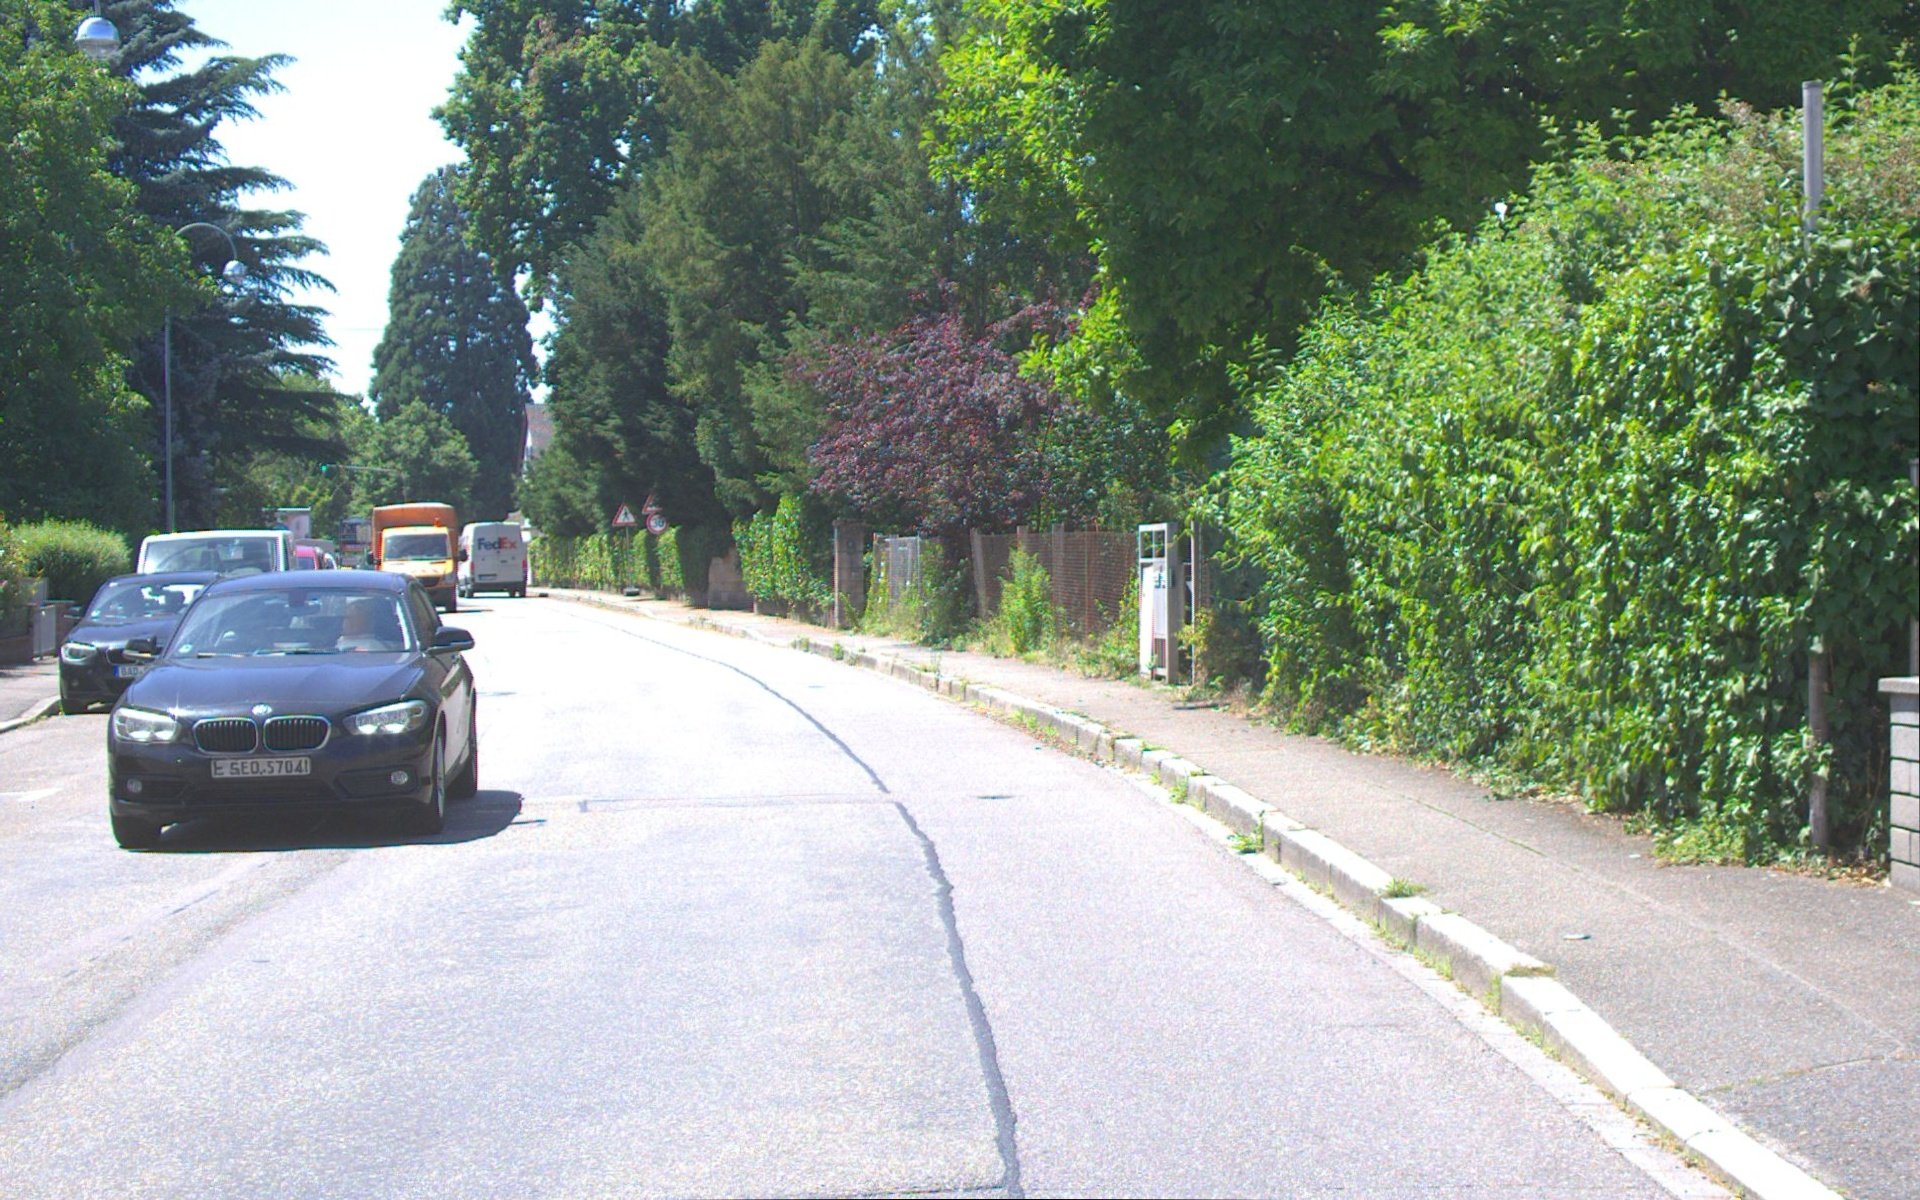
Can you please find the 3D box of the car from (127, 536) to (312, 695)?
[{"bbox_3d":[-9.405,0.184,43.995,1.886,1.875,4.981,-1,0,-8],"label":"car"}]

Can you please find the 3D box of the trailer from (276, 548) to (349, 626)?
[{"bbox_3d":[-18.098,-0.374,95.988,1.847,2.033,4.164,-3,1,-12],"label":"trailer"}]

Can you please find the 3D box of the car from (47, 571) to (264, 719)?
[{"bbox_3d":[-8.461,0.430,36.454,1.698,1.379,4.236,-3,1,-6],"label":"car"}]

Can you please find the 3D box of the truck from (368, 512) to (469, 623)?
[{"bbox_3d":[-14.521,-0.866,91.982,2.372,2.820,5.660,-2,1,-11],"label":"truck"}]

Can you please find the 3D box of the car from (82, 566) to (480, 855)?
[{"bbox_3d":[-3.732,0.554,19.506,1.731,1.412,4.001,-2,0,-5],"label":"car"}]

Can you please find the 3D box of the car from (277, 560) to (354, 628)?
[{"bbox_3d":[-17.195,-0.172,91.647,1.850,1.665,4.714,-3,1,-12],"label":"car"}]

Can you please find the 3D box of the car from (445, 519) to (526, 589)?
[{"bbox_3d":[-16.373,-1.588,118.495,2.143,2.307,4.854,-2,1,-14],"label":"car"}]

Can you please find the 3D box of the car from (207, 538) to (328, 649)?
[{"bbox_3d":[-11.543,-0.135,57.522,1.757,1.721,4.459,-2,1,-9],"label":"car"}]
